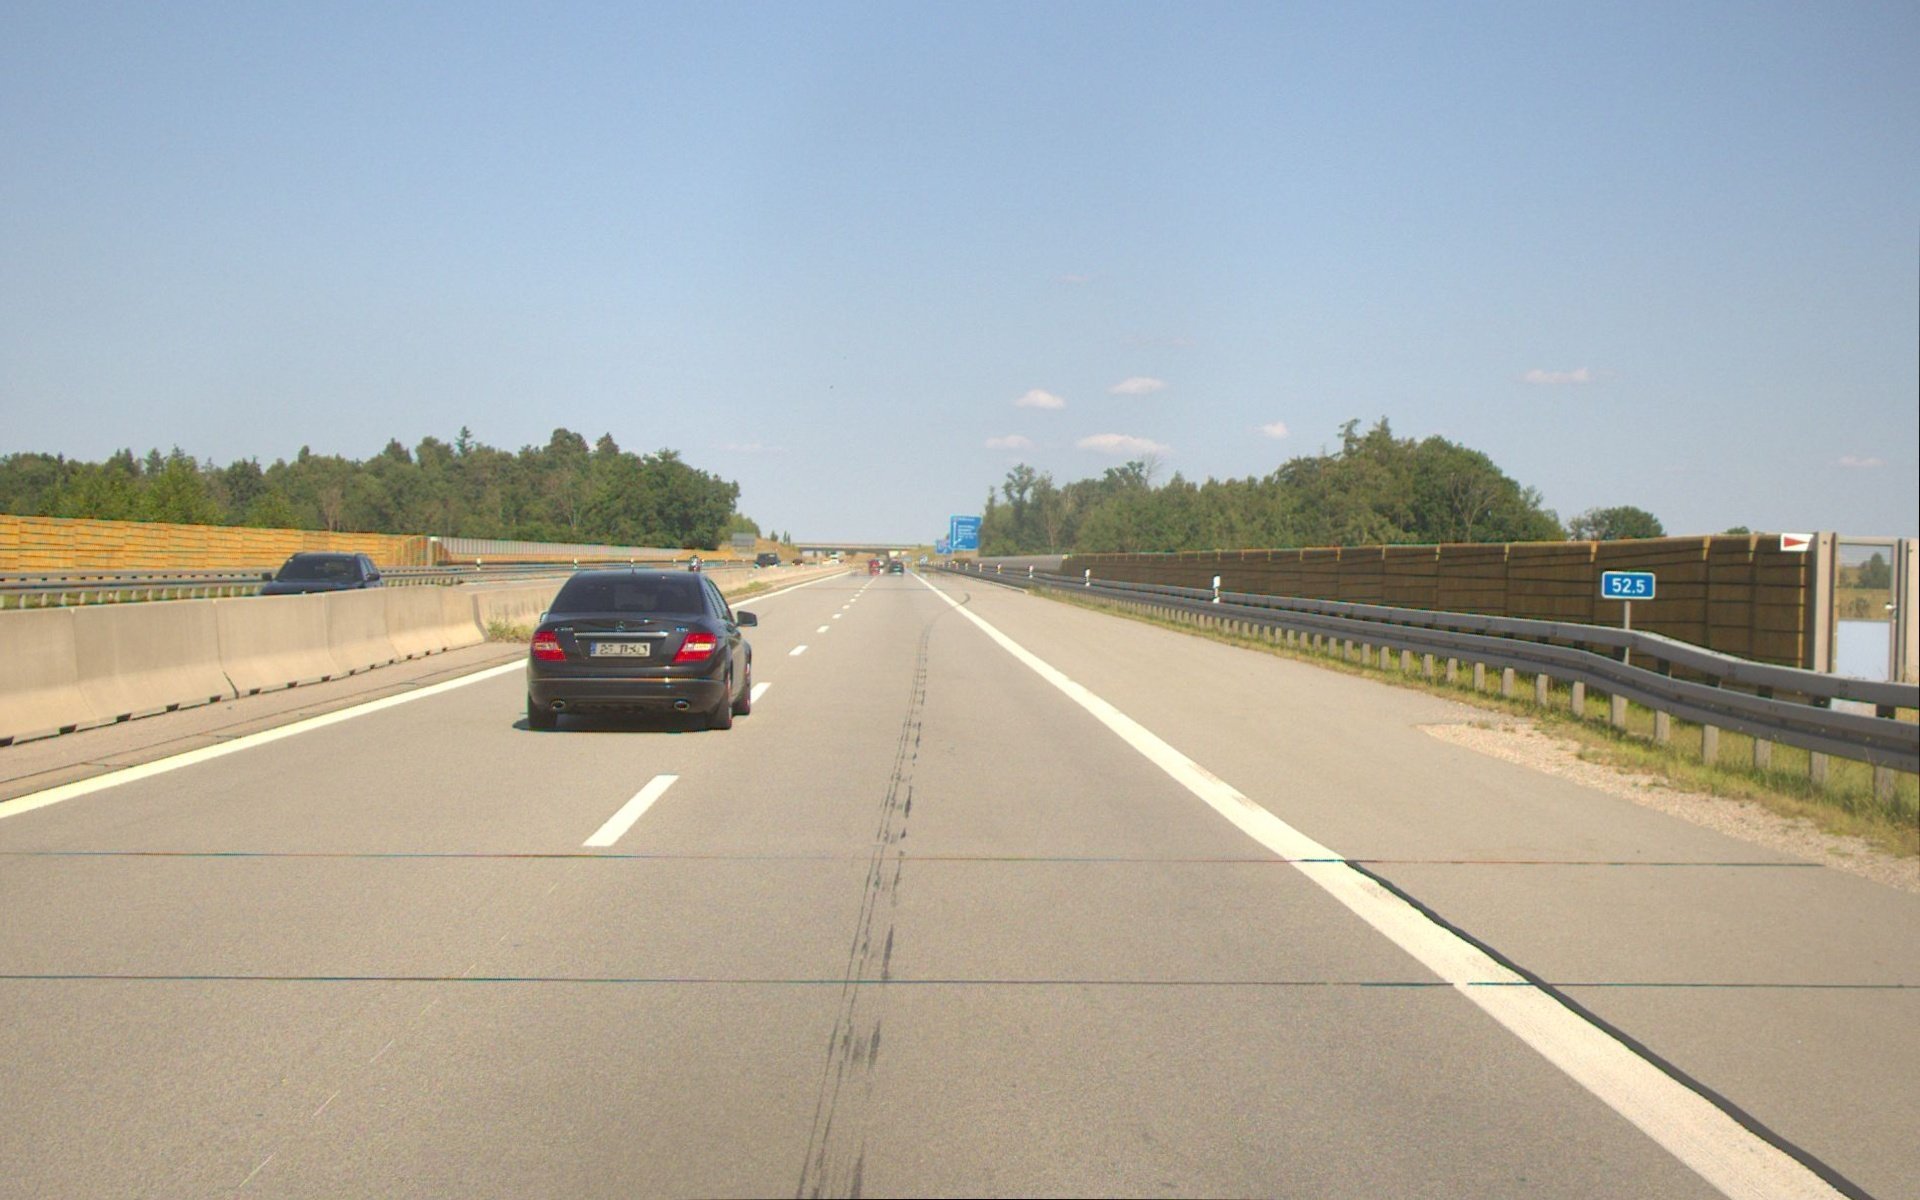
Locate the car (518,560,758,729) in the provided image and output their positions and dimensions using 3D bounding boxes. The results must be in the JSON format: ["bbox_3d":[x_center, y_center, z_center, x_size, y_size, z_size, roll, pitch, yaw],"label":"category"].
[{"bbox_3d":[-2.795,0.348,30.570,1.790,1.369,3.917,1,1,-1],"label":"car"}]
